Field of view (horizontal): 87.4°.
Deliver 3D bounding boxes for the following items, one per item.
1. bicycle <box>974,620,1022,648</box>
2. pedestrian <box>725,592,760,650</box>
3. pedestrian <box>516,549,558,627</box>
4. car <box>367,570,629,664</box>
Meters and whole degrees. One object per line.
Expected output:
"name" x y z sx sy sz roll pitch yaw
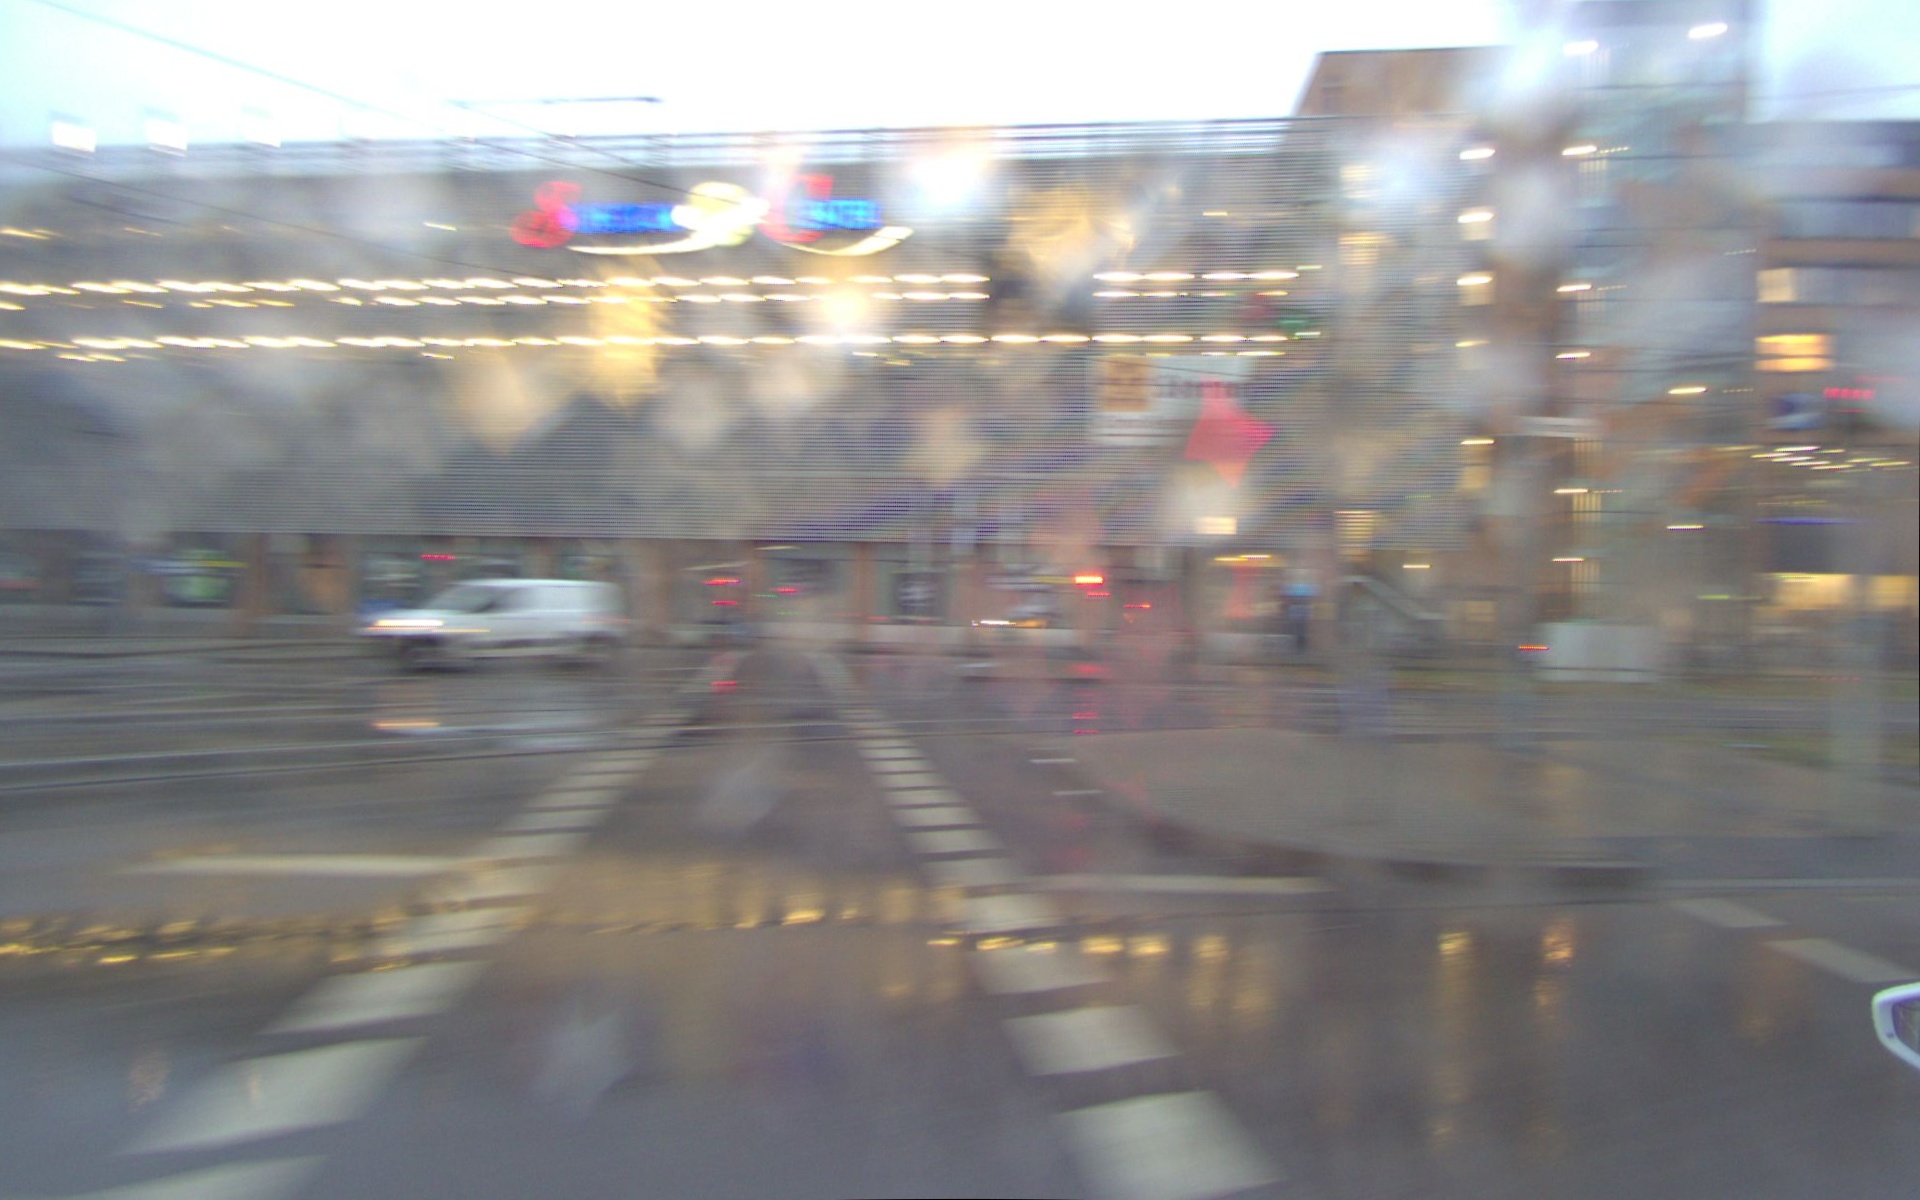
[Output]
"bicycle" 1.687 1.504 44.451 2.049 1.136 0.477 3 -1 6
"pedestrian" -9.437 0.913 43.606 1.091 2.471 0.967 2 -1 7
"pedestrian" -16.538 -0.440 39.264 0.946 2.963 1.114 2 -1 7
"car" -9.482 0.360 20.862 4.577 1.742 1.905 2 -1 -43
